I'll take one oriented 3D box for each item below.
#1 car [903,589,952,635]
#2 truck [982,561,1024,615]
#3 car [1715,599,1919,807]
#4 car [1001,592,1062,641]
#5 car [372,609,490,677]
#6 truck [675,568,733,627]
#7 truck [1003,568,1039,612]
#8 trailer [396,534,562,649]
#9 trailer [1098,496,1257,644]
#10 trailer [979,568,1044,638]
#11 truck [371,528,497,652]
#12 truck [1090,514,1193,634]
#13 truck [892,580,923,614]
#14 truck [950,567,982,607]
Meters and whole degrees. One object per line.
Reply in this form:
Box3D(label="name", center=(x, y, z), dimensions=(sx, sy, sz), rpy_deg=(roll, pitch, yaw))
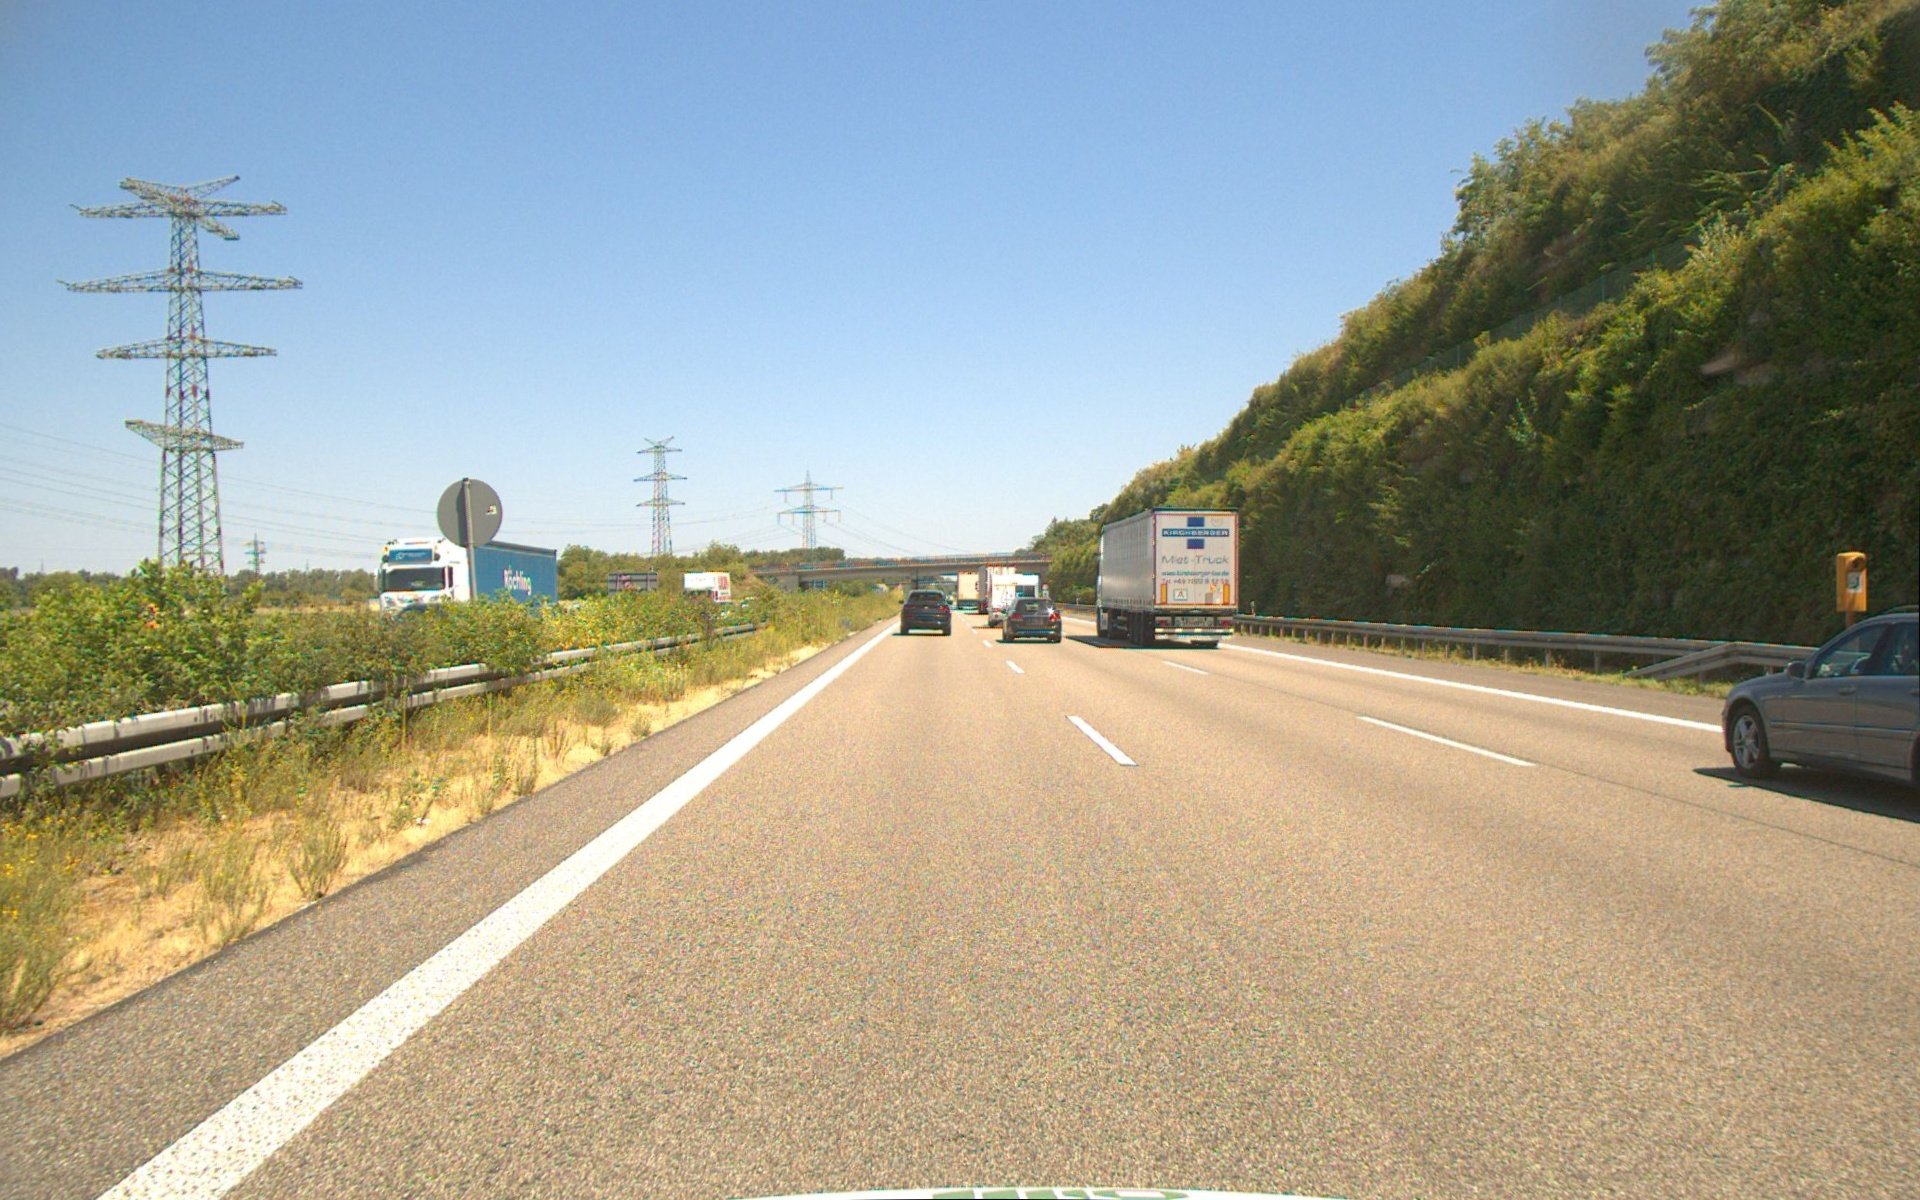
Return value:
Box3D(label="car", center=(-1.289, 0.450, 64.409), dimensions=(1.793, 1.700, 3.999), rpy_deg=(-1, 0, -2))
Box3D(label="truck", center=(3.591, -1.036, 141.536), dimensions=(3.056, 4.355, 11.931), rpy_deg=(-1, 0, -1))
Box3D(label="car", center=(7.575, 0.729, 12.433), dimensions=(1.650, 1.453, 4.451), rpy_deg=(0, 0, -2))
Box3D(label="car", center=(2.367, 0.517, 55.446), dimensions=(1.792, 1.552, 3.999), rpy_deg=(-1, 0, -1))
Box3D(label="car", center=(-14.141, 1.108, 44.479), dimensions=(1.717, 1.661, 4.607), rpy_deg=(-1, 0, -1))
Box3D(label="truck", center=(-19.276, -0.201, 124.965), dimensions=(2.815, 4.249, 10.566), rpy_deg=(-1, 0, -1))
Box3D(label="truck", center=(6.195, -0.995, 169.199), dimensions=(3.056, 4.355, 10.165), rpy_deg=(-1, 0, -1))
Box3D(label="trailer", center=(-18.637, -0.330, 65.279), dimensions=(2.639, 4.006, 13.906), rpy_deg=(-1, 0, -1))
Box3D(label="trailer", center=(6.854, -0.900, 54.613), dimensions=(3.118, 4.193, 13.428), rpy_deg=(-1, 0, -1))
Box3D(label="trailer", center=(2.468, 0.121, 82.684), dimensions=(2.558, 3.269, 9.949), rpy_deg=(-1, 0, -2))
Box3D(label="truck", center=(-18.504, -0.355, 58.523), dimensions=(2.641, 4.139, 5.800), rpy_deg=(-1, 0, -1))
Box3D(label="truck", center=(6.703, -0.947, 61.894), dimensions=(3.072, 4.214, 5.502), rpy_deg=(-1, 0, -1))
Box3D(label="truck", center=(-6.828, -0.422, 214.801), dimensions=(3.882, 4.185, 9.949), rpy_deg=(-1, 0, -2))
Box3D(label="truck", center=(0.625, -1.490, 191.159), dimensions=(3.340, 4.355, 10.605), rpy_deg=(-1, 0, -1))
